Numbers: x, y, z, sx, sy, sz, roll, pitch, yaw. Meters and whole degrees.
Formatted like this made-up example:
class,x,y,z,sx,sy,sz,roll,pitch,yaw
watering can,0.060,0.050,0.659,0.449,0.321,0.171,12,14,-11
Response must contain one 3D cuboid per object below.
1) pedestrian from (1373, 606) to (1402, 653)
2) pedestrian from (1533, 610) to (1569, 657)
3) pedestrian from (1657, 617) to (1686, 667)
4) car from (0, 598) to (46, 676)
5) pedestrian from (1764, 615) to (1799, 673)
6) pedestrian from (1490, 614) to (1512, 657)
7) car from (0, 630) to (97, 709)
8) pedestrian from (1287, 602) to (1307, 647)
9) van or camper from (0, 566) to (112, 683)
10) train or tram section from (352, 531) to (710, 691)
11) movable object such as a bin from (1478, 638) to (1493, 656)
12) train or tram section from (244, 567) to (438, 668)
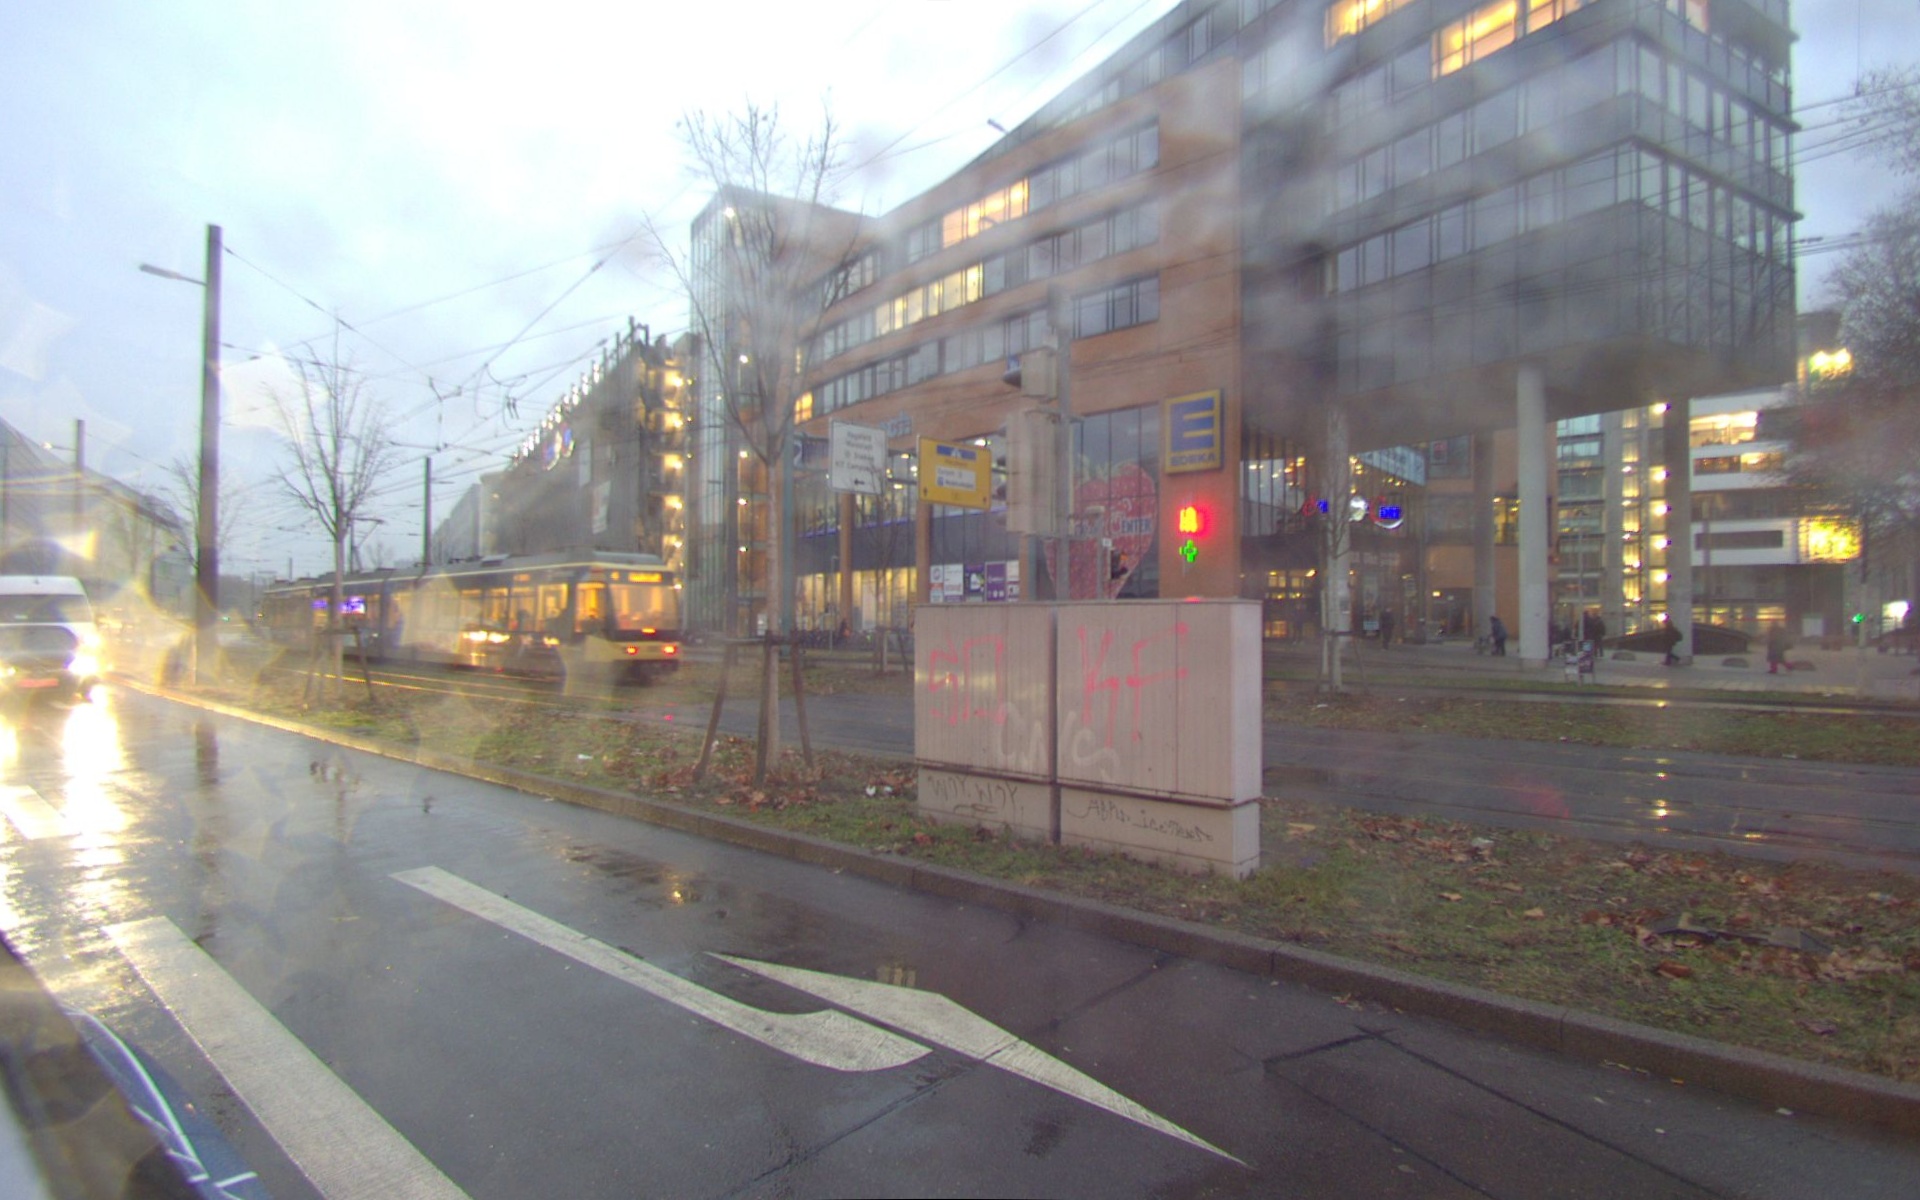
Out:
class,x,y,z,sx,sy,sz,roll,pitch,yaw
pedestrian,16.313,1.130,38.595,0.782,1.766,0.704,0,-2,-1
pedestrian,21.924,1.241,37.526,0.994,1.725,0.787,1,-2,-34
pedestrian,25.203,1.484,35.848,0.784,1.725,0.647,-1,-2,39
car,-37.635,1.417,39.560,5.810,2.885,2.102,-1,-2,41
pedestrian,25.959,1.377,31.980,0.821,1.787,0.564,-1,-2,42
pedestrian,20.670,1.345,38.650,0.674,1.620,0.449,-1,-2,33
car,-17.772,1.269,19.179,4.057,1.355,1.735,-2,-2,43
pedestrian,13.410,0.982,40.260,0.658,1.766,0.534,0,-2,12
van or camper,-22.643,0.587,24.603,5.894,2.551,2.126,-1,-2,40
train or tram section,-14.070,0.442,30.825,19.220,3.642,2.832,-1,-2,44
movable object such as a bin,20.218,1.811,38.958,0.484,0.694,0.353,-1,-2,33
train or tram section,-27.900,0.822,44.657,2.831,3.642,20.084,2,-2,-44
